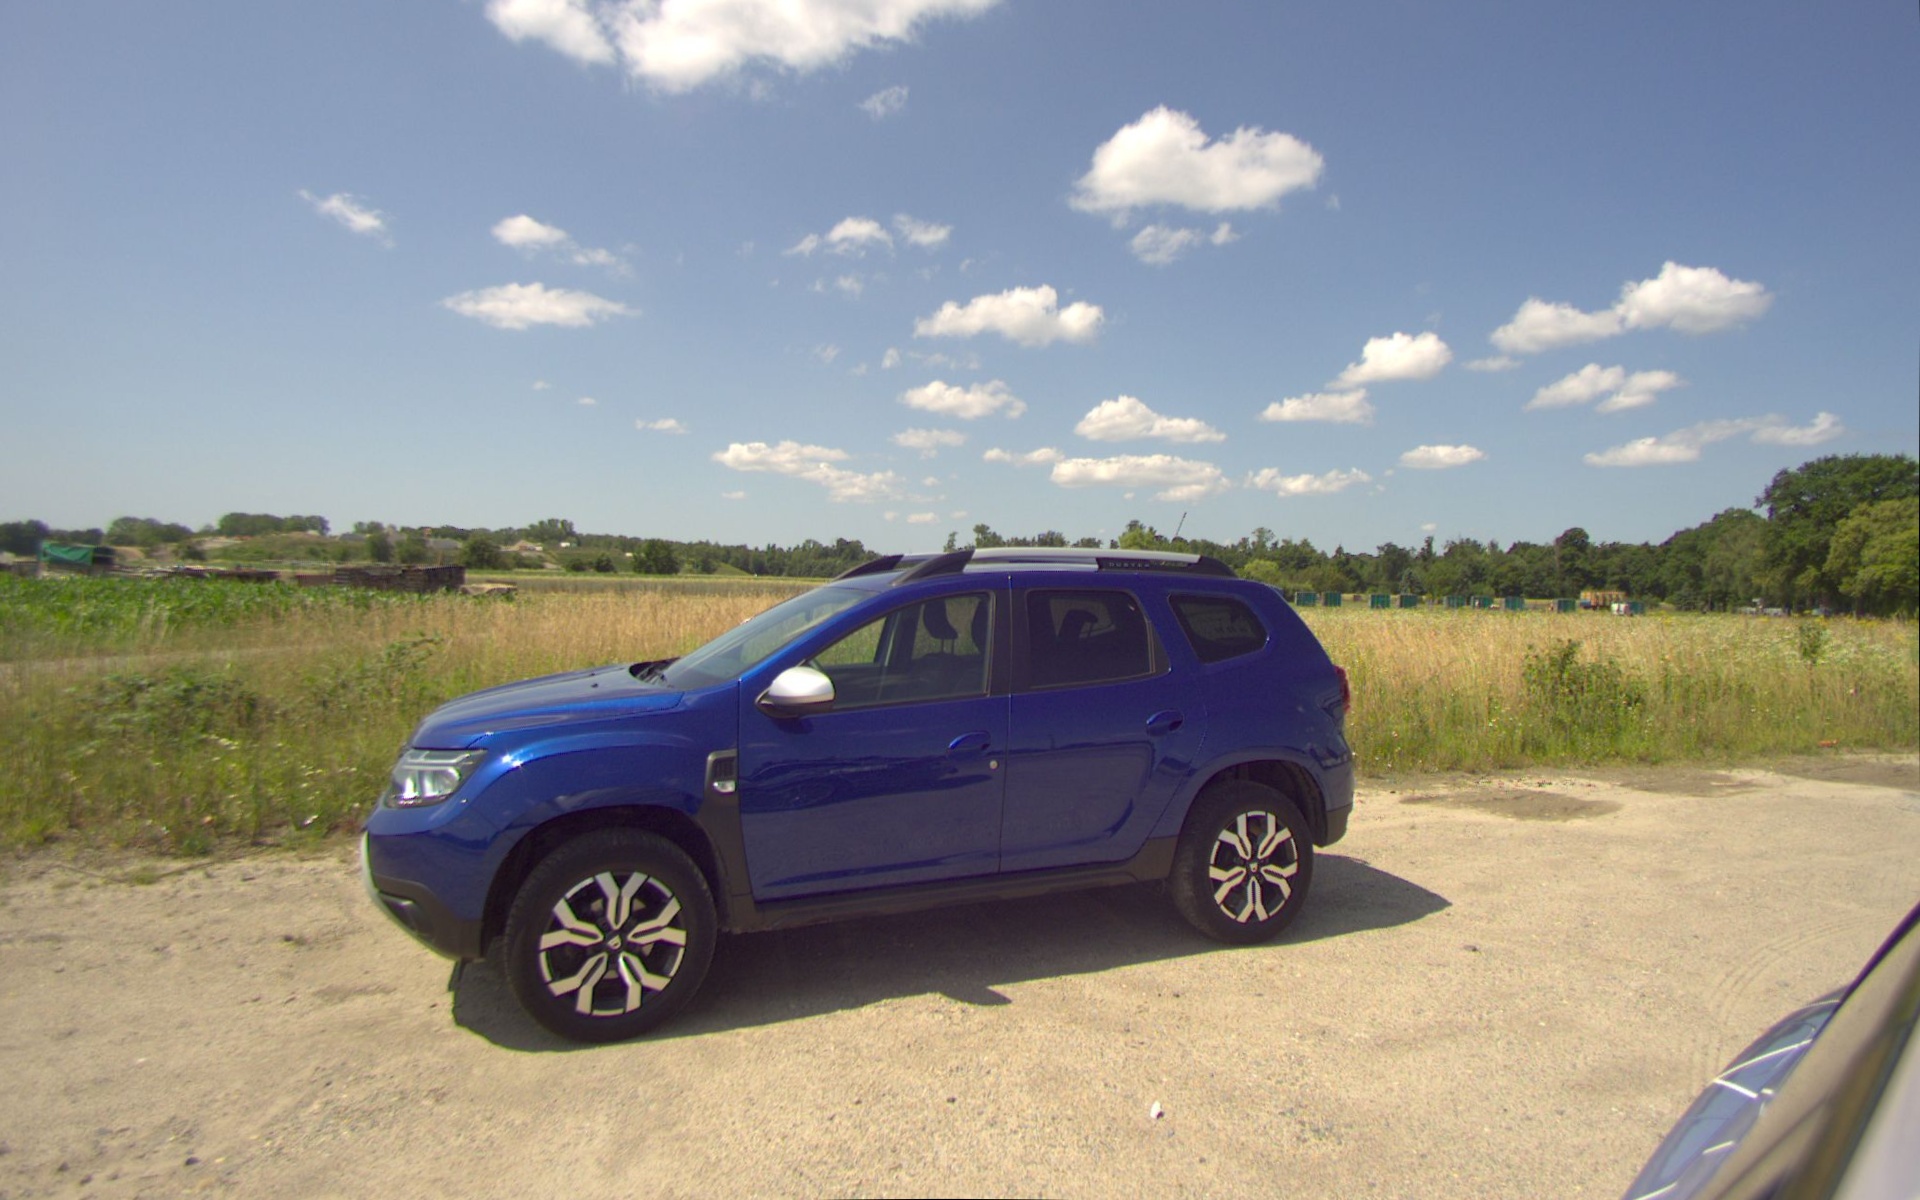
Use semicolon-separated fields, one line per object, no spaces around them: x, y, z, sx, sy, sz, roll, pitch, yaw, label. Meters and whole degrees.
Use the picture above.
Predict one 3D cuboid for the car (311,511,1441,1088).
-0.204;0.575;4.627;4.365;1.682;1.868;0;0;-22;car
